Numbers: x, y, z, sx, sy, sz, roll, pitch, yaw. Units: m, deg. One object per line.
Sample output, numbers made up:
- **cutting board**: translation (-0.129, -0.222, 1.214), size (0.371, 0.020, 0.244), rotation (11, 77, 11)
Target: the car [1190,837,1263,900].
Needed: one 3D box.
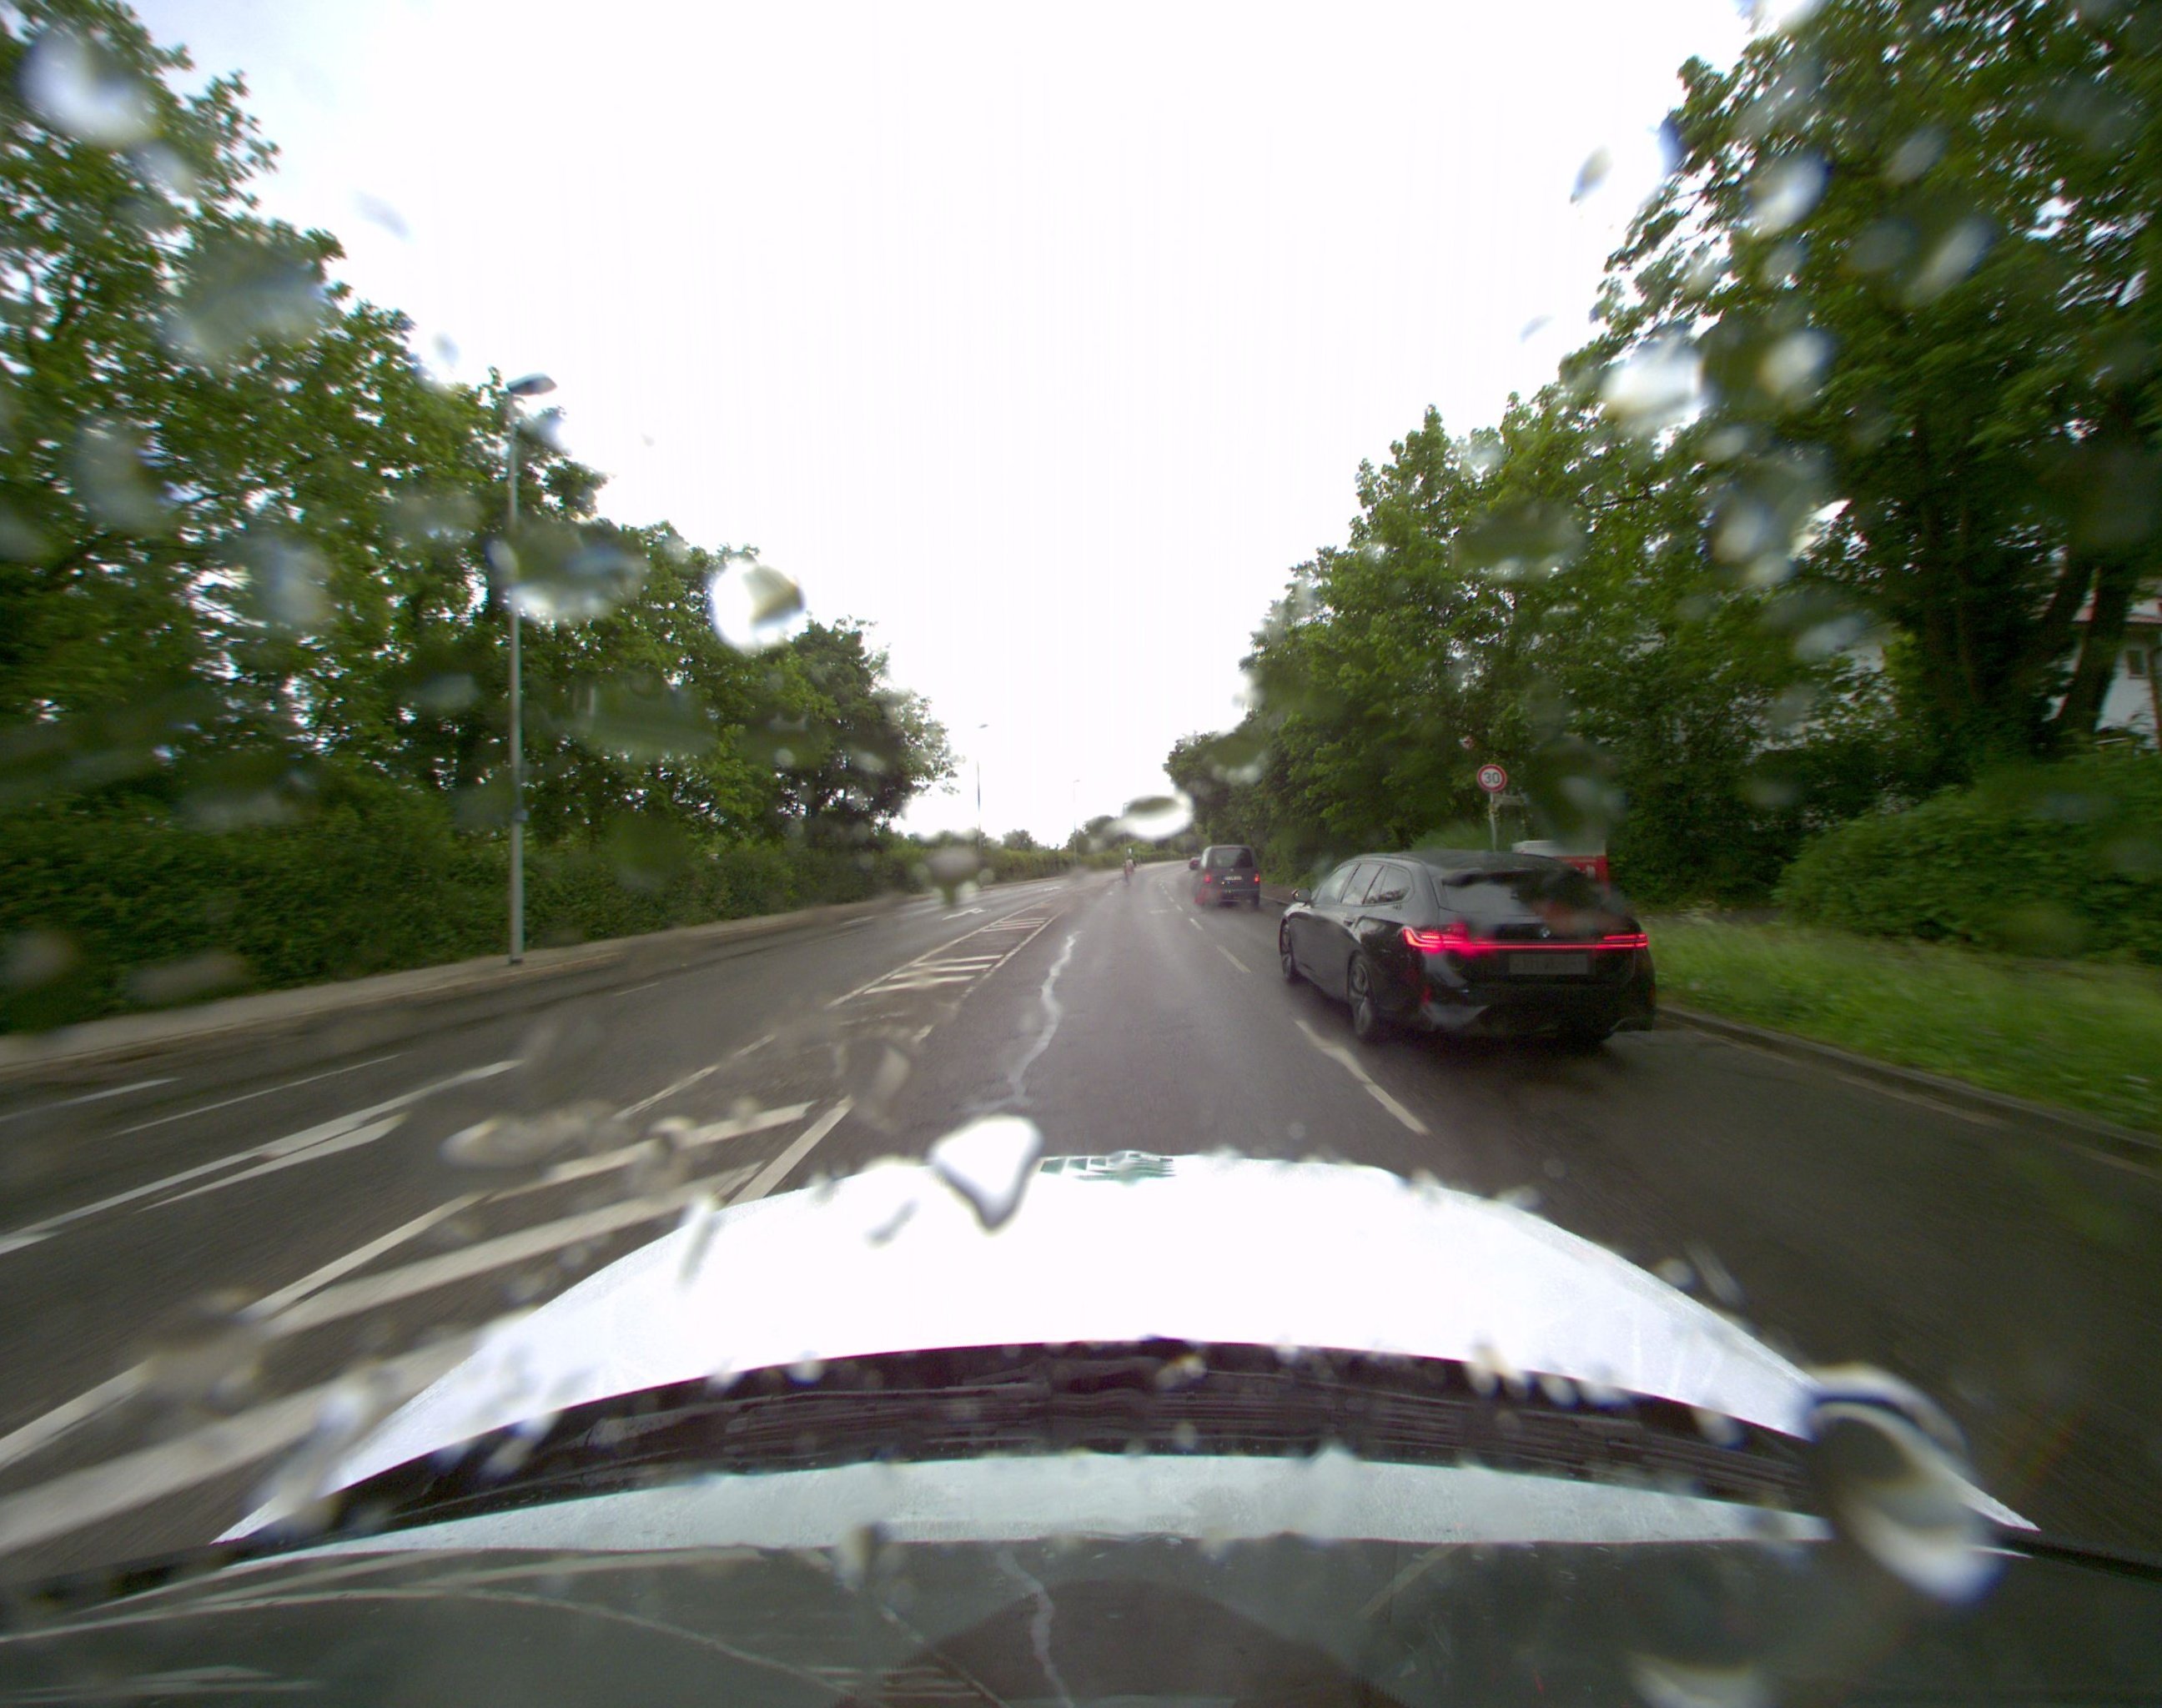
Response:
- **car**: translation (4.503, 0.380, 25.681), size (1.760, 1.810, 3.908), rotation (-1, 1, 3)

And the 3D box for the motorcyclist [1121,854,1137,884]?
- **motorcyclist**: translation (2.743, 0.841, 46.133), size (0.841, 1.647, 0.468), rotation (-2, 1, 6)

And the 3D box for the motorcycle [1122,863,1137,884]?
- **motorcycle**: translation (2.745, 1.122, 46.202), size (0.737, 1.119, 1.429), rotation (-1, 1, 6)

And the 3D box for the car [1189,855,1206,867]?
- **car**: translation (15.109, 0.890, 105.791), size (2.002, 1.415, 4.499), rotation (-1, 1, 10)

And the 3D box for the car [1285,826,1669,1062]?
- **car**: translation (3.073, 0.588, 7.224), size (1.757, 1.536, 3.675), rotation (-1, 0, 3)
